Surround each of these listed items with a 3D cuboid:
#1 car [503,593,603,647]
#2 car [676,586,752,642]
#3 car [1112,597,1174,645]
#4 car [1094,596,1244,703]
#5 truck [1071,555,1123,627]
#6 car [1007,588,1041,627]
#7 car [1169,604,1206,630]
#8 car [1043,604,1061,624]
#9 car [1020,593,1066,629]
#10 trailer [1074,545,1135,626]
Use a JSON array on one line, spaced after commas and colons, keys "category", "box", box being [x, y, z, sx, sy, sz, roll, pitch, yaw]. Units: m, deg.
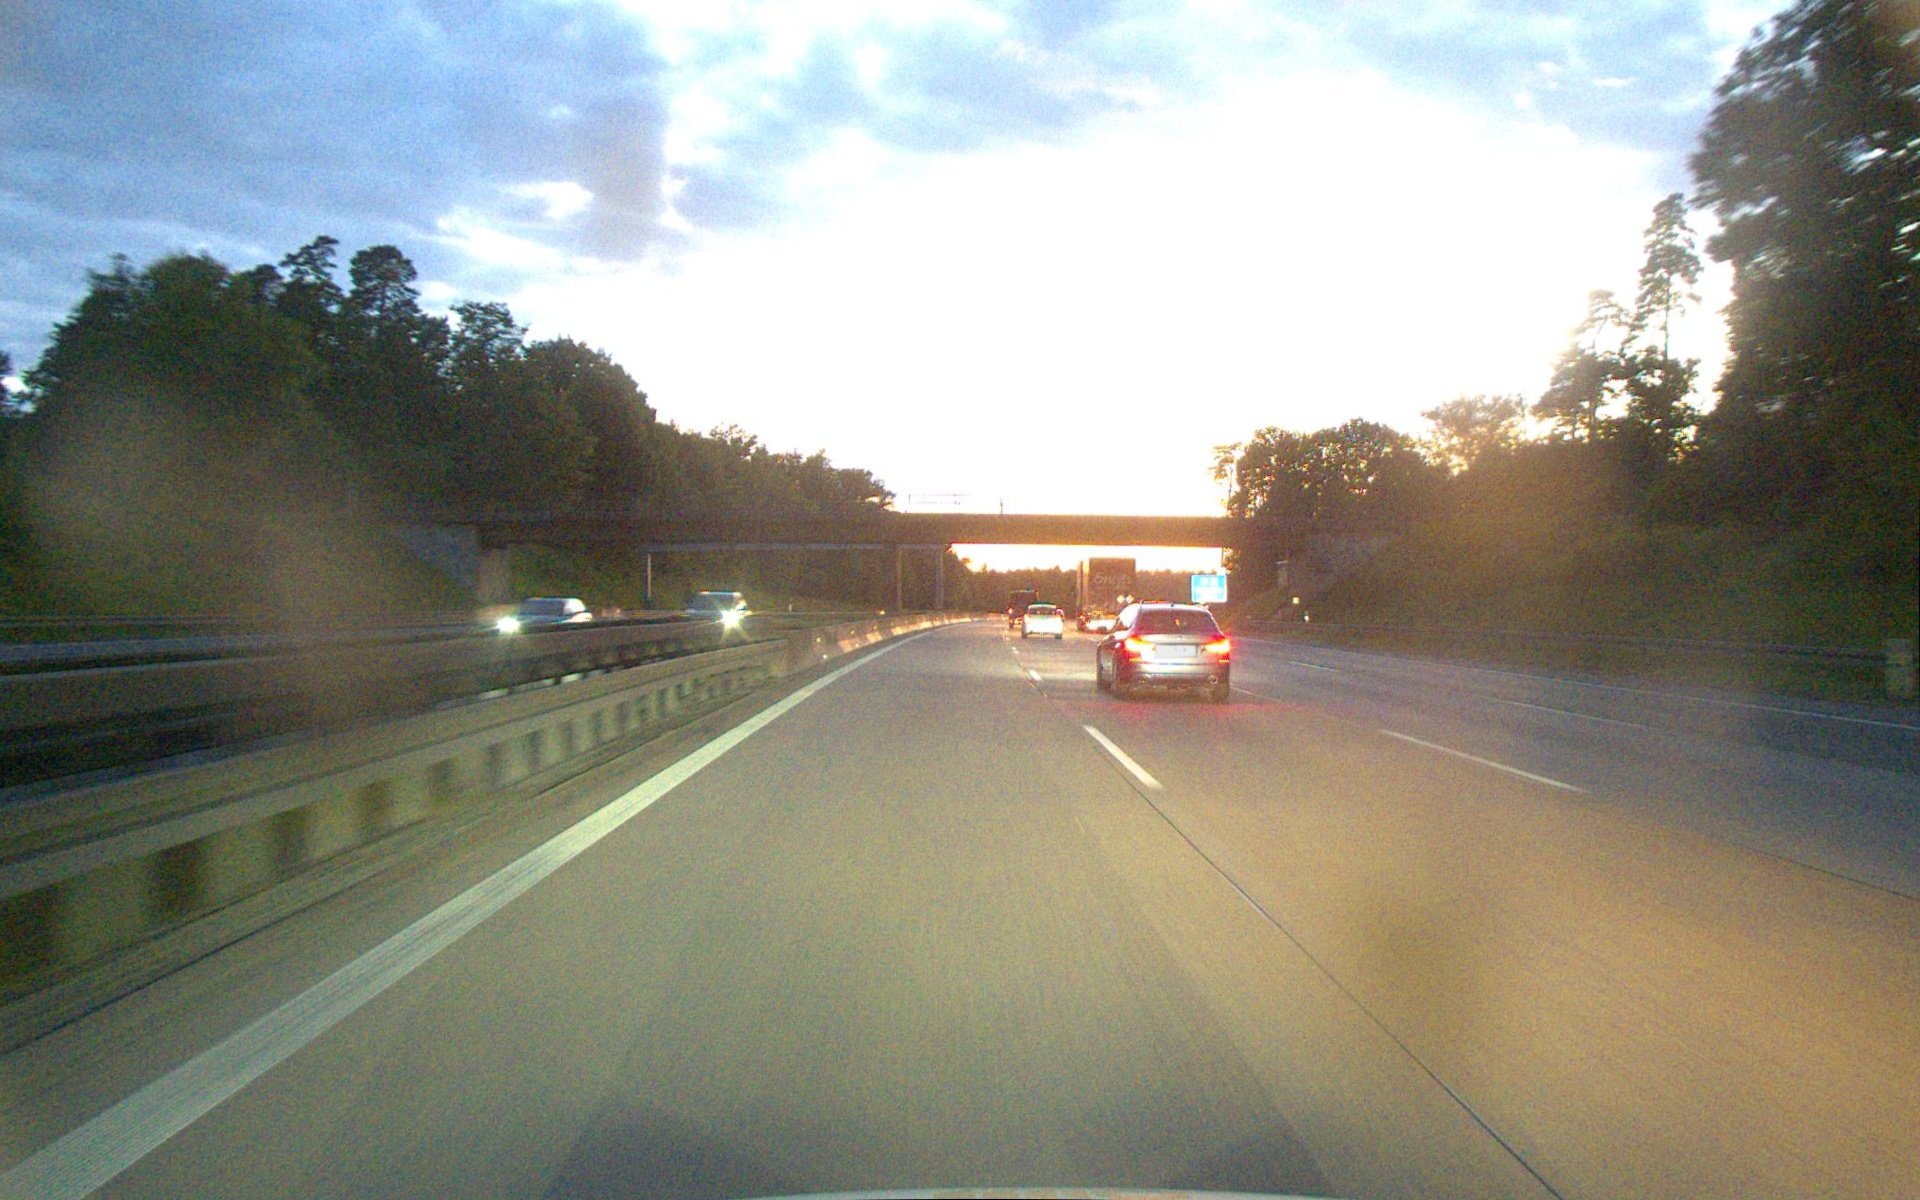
[{"category": "car", "box": [-11.857, 0.557, 48.491, 1.836, 1.468, 4.451, 0, 1, 0]}, {"category": "car", "box": [-8.436, 0.438, 57.050, 1.953, 1.829, 4.830, 0, 1, -1]}, {"category": "car", "box": [6.711, 0.752, 61.104, 1.863, 1.672, 5.053, 0, 0, 2]}, {"category": "car", "box": [3.390, 0.743, 27.775, 1.870, 1.564, 5.231, 0, 1, 0]}, {"category": "truck", "box": [8.422, -0.436, 102.554, 2.825, 4.173, 10.834, 1, -1, 3]}, {"category": "car", "box": [4.151, 0.517, 106.954, 2.120, 2.461, 5.565, 0, -1, 2]}, {"category": "car", "box": [13.038, 0.973, 94.980, 1.820, 1.467, 4.113, 0, -1, 3]}, {"category": "car", "box": [12.094, 1.831, 217.635, 2.121, 2.461, 5.564, 0, -1, 1]}, {"category": "car", "box": [3.602, 0.459, 71.967, 1.821, 1.467, 3.720, 0, 1, 0]}, {"category": "trailer", "box": [7.958, -0.678, 92.011, 2.847, 4.173, 10.359, 1, -1, 2]}]
